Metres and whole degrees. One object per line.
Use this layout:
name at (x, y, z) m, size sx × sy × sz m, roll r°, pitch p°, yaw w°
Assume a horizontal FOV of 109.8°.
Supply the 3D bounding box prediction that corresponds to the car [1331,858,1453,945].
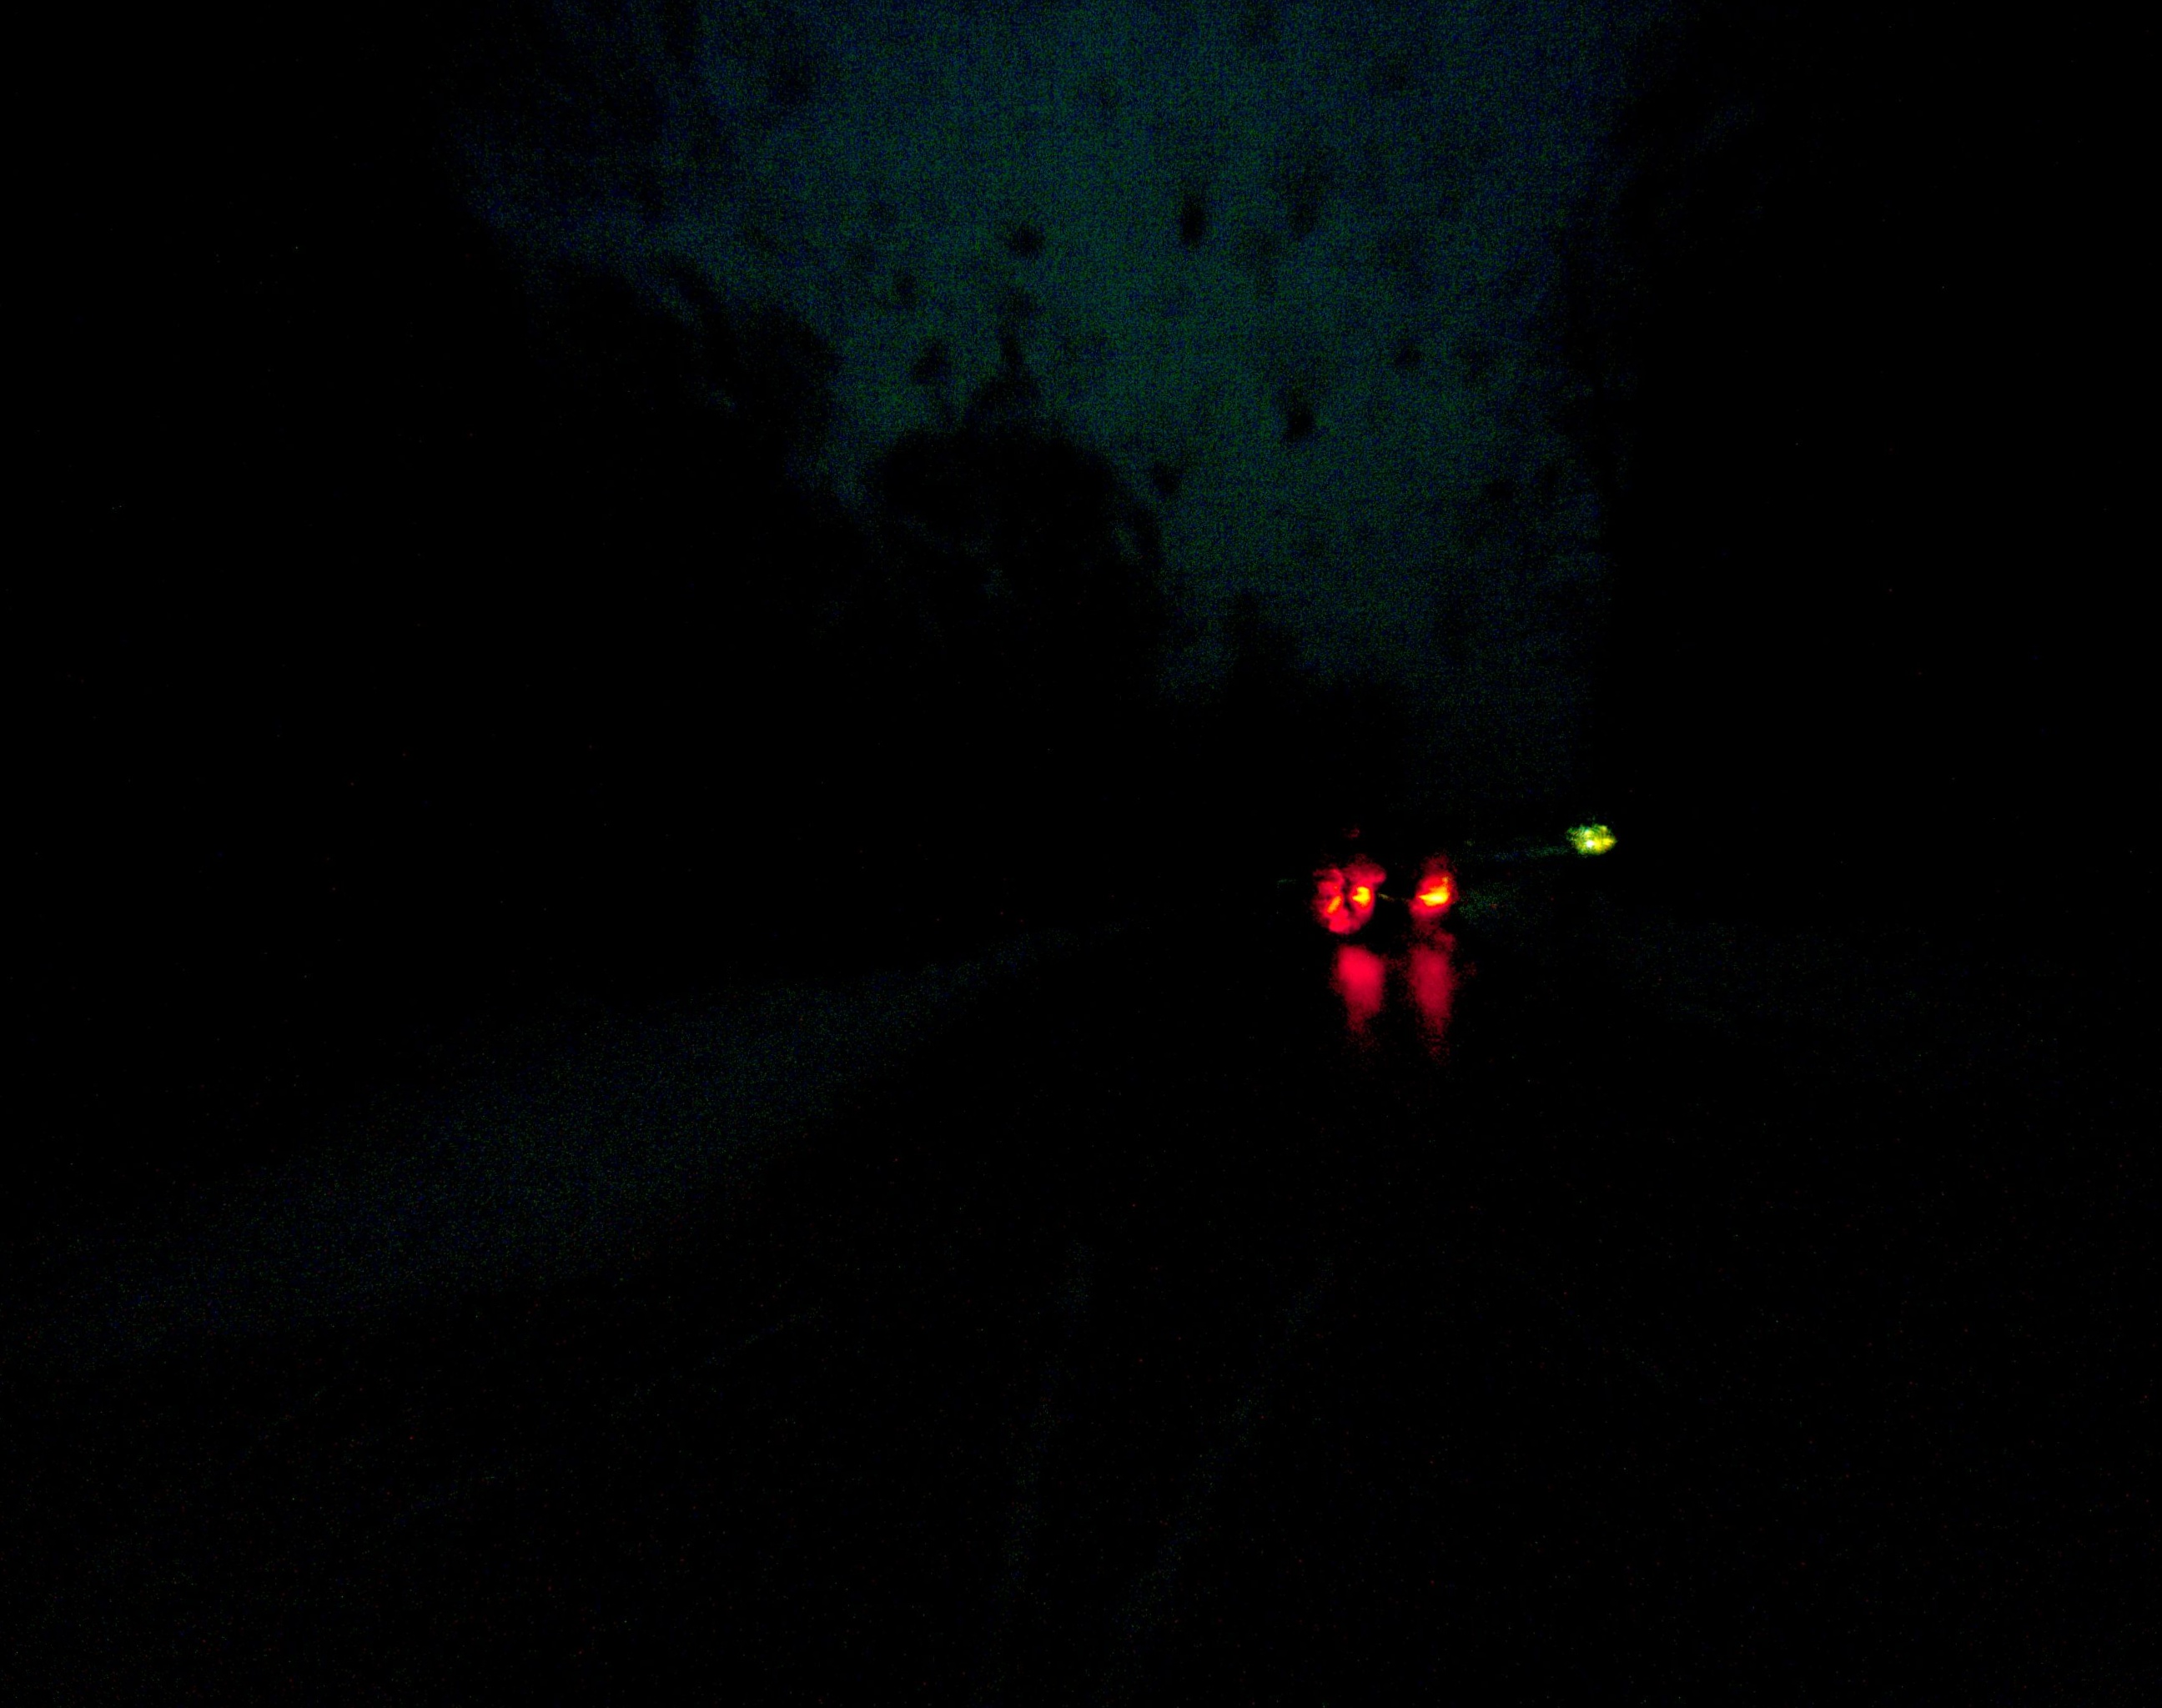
car at (6.149, 0.842, 15.515) m, size 1.776 × 1.484 × 4.554 m, roll -1°, pitch 0°, yaw 15°
